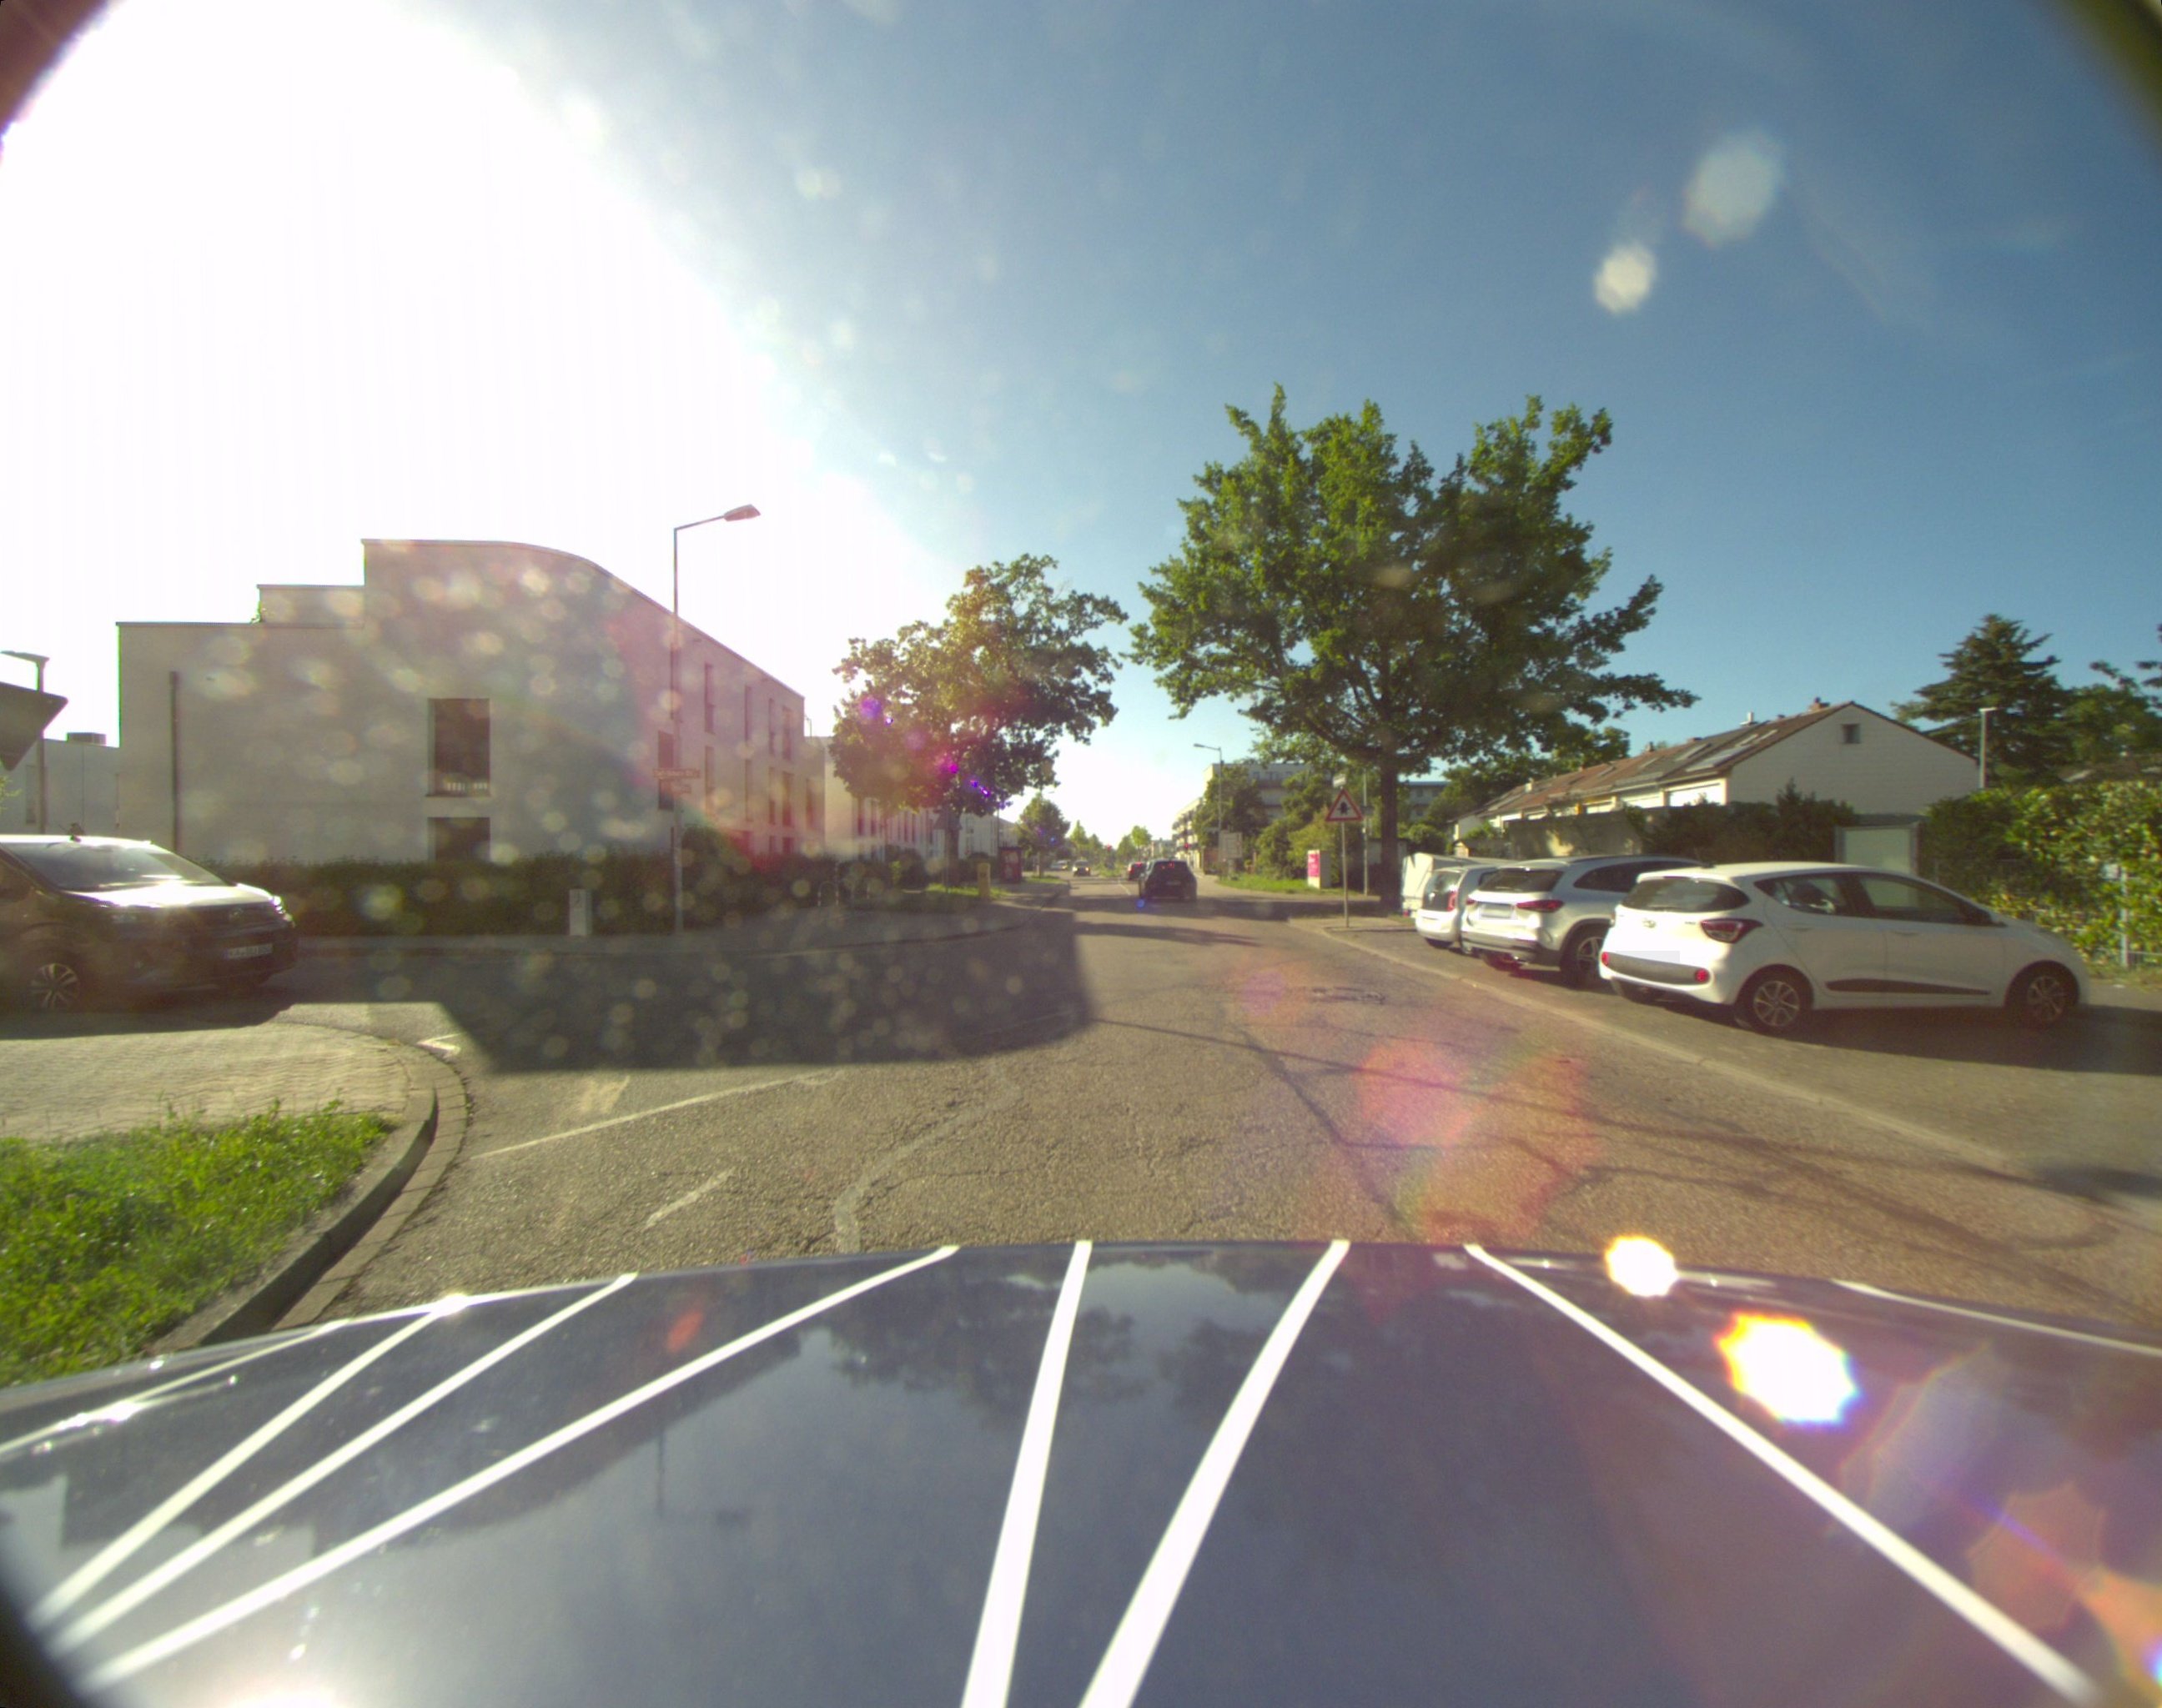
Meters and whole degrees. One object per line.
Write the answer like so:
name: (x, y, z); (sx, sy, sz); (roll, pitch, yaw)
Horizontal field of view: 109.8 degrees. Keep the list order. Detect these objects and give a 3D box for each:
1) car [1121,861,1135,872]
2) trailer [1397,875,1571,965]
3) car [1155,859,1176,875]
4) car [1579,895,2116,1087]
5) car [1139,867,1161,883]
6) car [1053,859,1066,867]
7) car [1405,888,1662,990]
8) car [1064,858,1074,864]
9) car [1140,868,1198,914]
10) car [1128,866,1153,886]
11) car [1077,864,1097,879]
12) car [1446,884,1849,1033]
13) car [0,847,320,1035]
car: (6.873, 1.825, 111.813); (1.878, 1.469, 3.851); (1, 0, 2)
trailer: (7.936, 1.267, 15.089); (2.767, 1.638, 1.299); (0, 2, -4)
car: (8.221, 1.269, 74.120); (1.765, 1.469, 3.852); (-1, 0, 3)
car: (7.131, 1.211, 7.352); (3.523, 1.487, 1.708); (-1, 1, -2)
car: (6.070, 1.867, 67.415); (1.765, 1.389, 3.852); (-1, -1, 3)
car: (-3.766, 1.547, 131.043); (1.944, 1.412, 4.000); (1, 0, 2)
car: (7.381, 1.361, 12.639); (3.303, 1.469, 1.616); (-1, 1, 2)
car: (-2.478, 1.436, 156.058); (1.830, 1.324, 3.678); (1, 0, 4)
car: (3.224, 1.315, 28.416); (1.742, 1.531, 3.947); (1, 0, 1)
car: (4.735, 1.725, 60.727); (1.765, 1.390, 4.001); (-2, 0, 3)
car: (0.636, 1.756, 78.658); (1.878, 1.469, 3.851); (1, 0, 2)
car: (7.186, 1.244, 9.899); (3.965, 1.565, 1.921); (-1, 1, -6)
car: (-11.937, 0.839, 8.262); (5.208, 1.805, 1.912); (1, 1, -3)
